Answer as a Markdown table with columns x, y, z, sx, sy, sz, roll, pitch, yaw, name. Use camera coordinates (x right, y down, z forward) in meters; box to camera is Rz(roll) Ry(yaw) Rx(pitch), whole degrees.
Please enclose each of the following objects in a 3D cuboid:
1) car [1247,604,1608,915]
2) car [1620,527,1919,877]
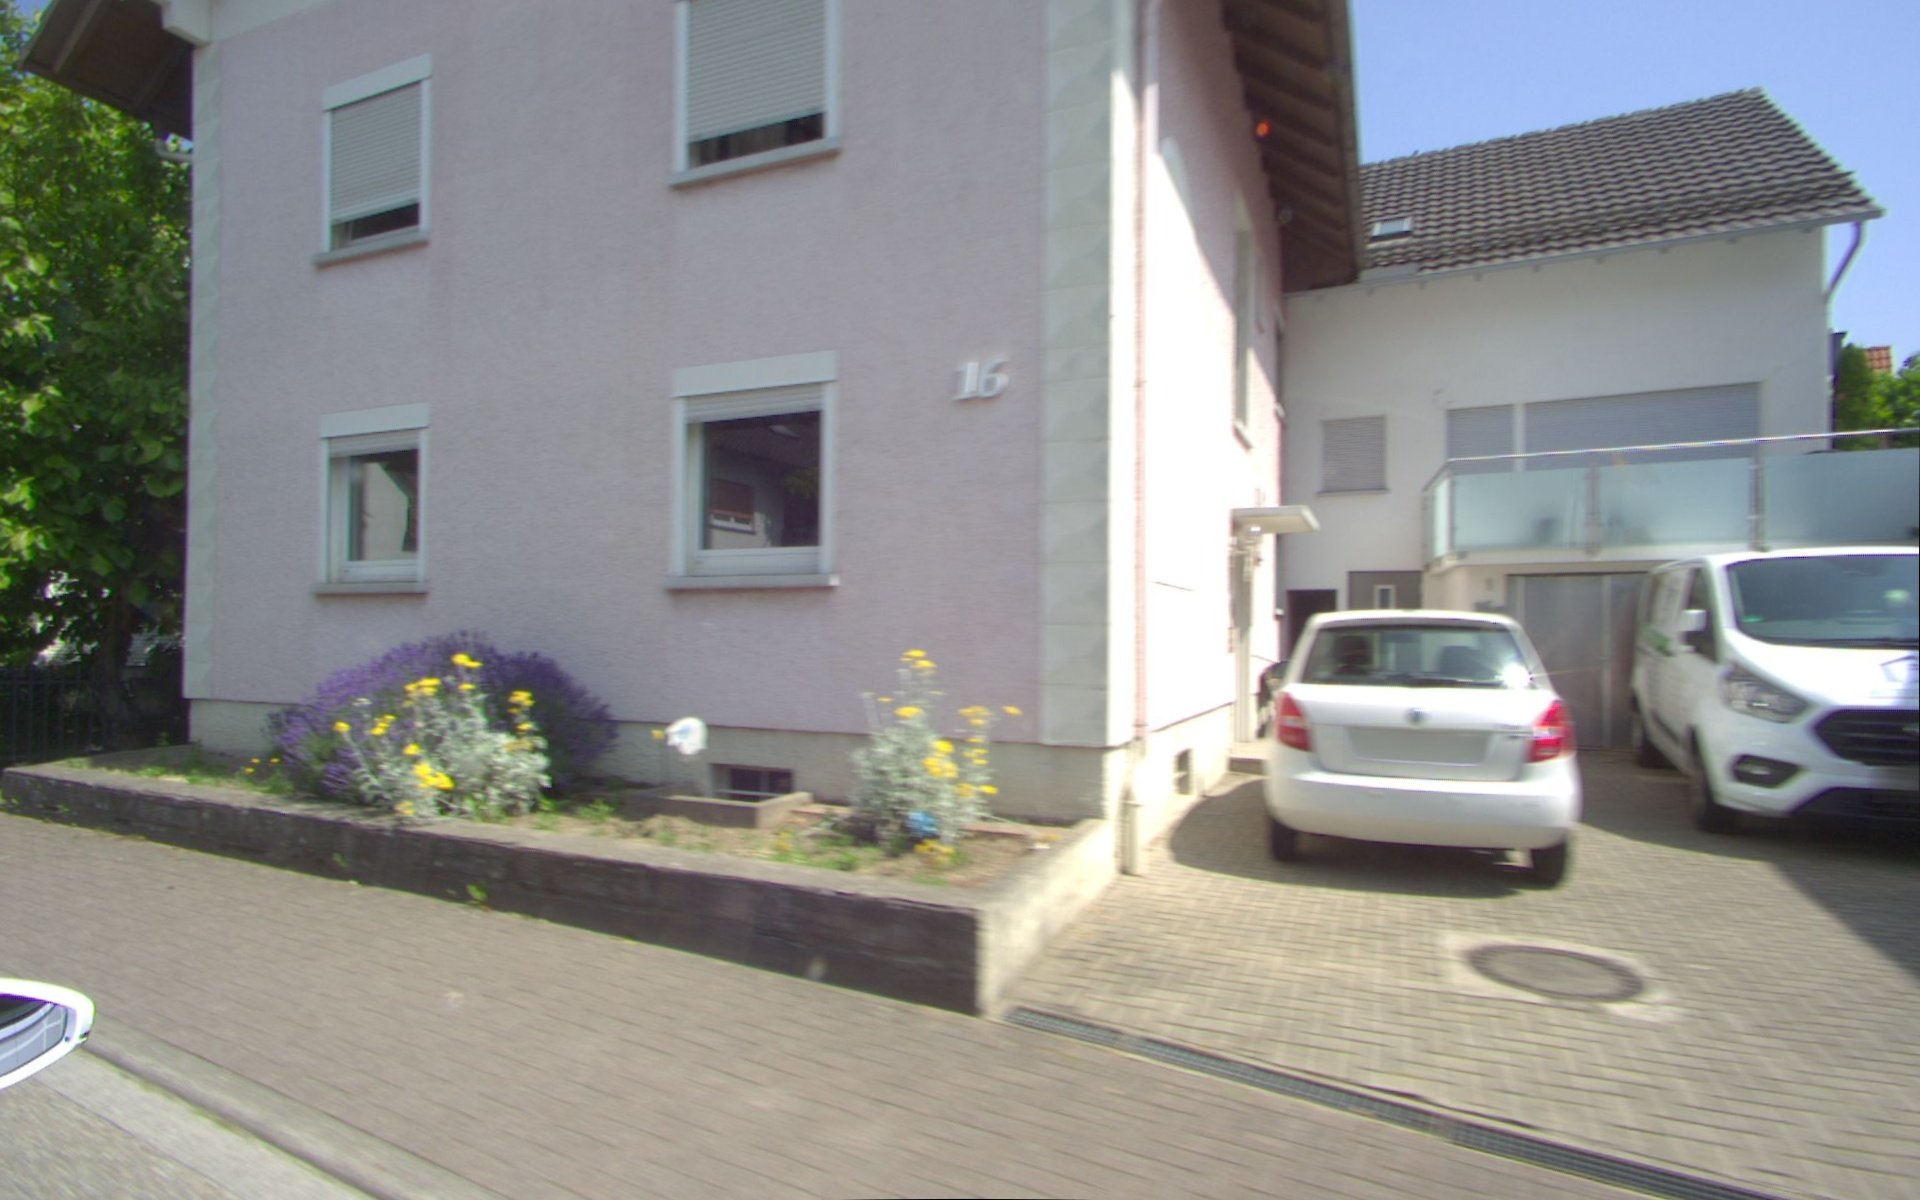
| x | y | z | sx | sy | sz | roll | pitch | yaw | name |
| --- | --- | --- | --- | --- | --- | --- | --- | --- | --- |
| 2.999 | 0.784 | 6.814 | 1.652 | 1.480 | 3.751 | 0 | -1 | 22 | car |
| 6.587 | 0.599 | 7.677 | 2.024 | 1.938 | 4.977 | 0 | -1 | 27 | car |
